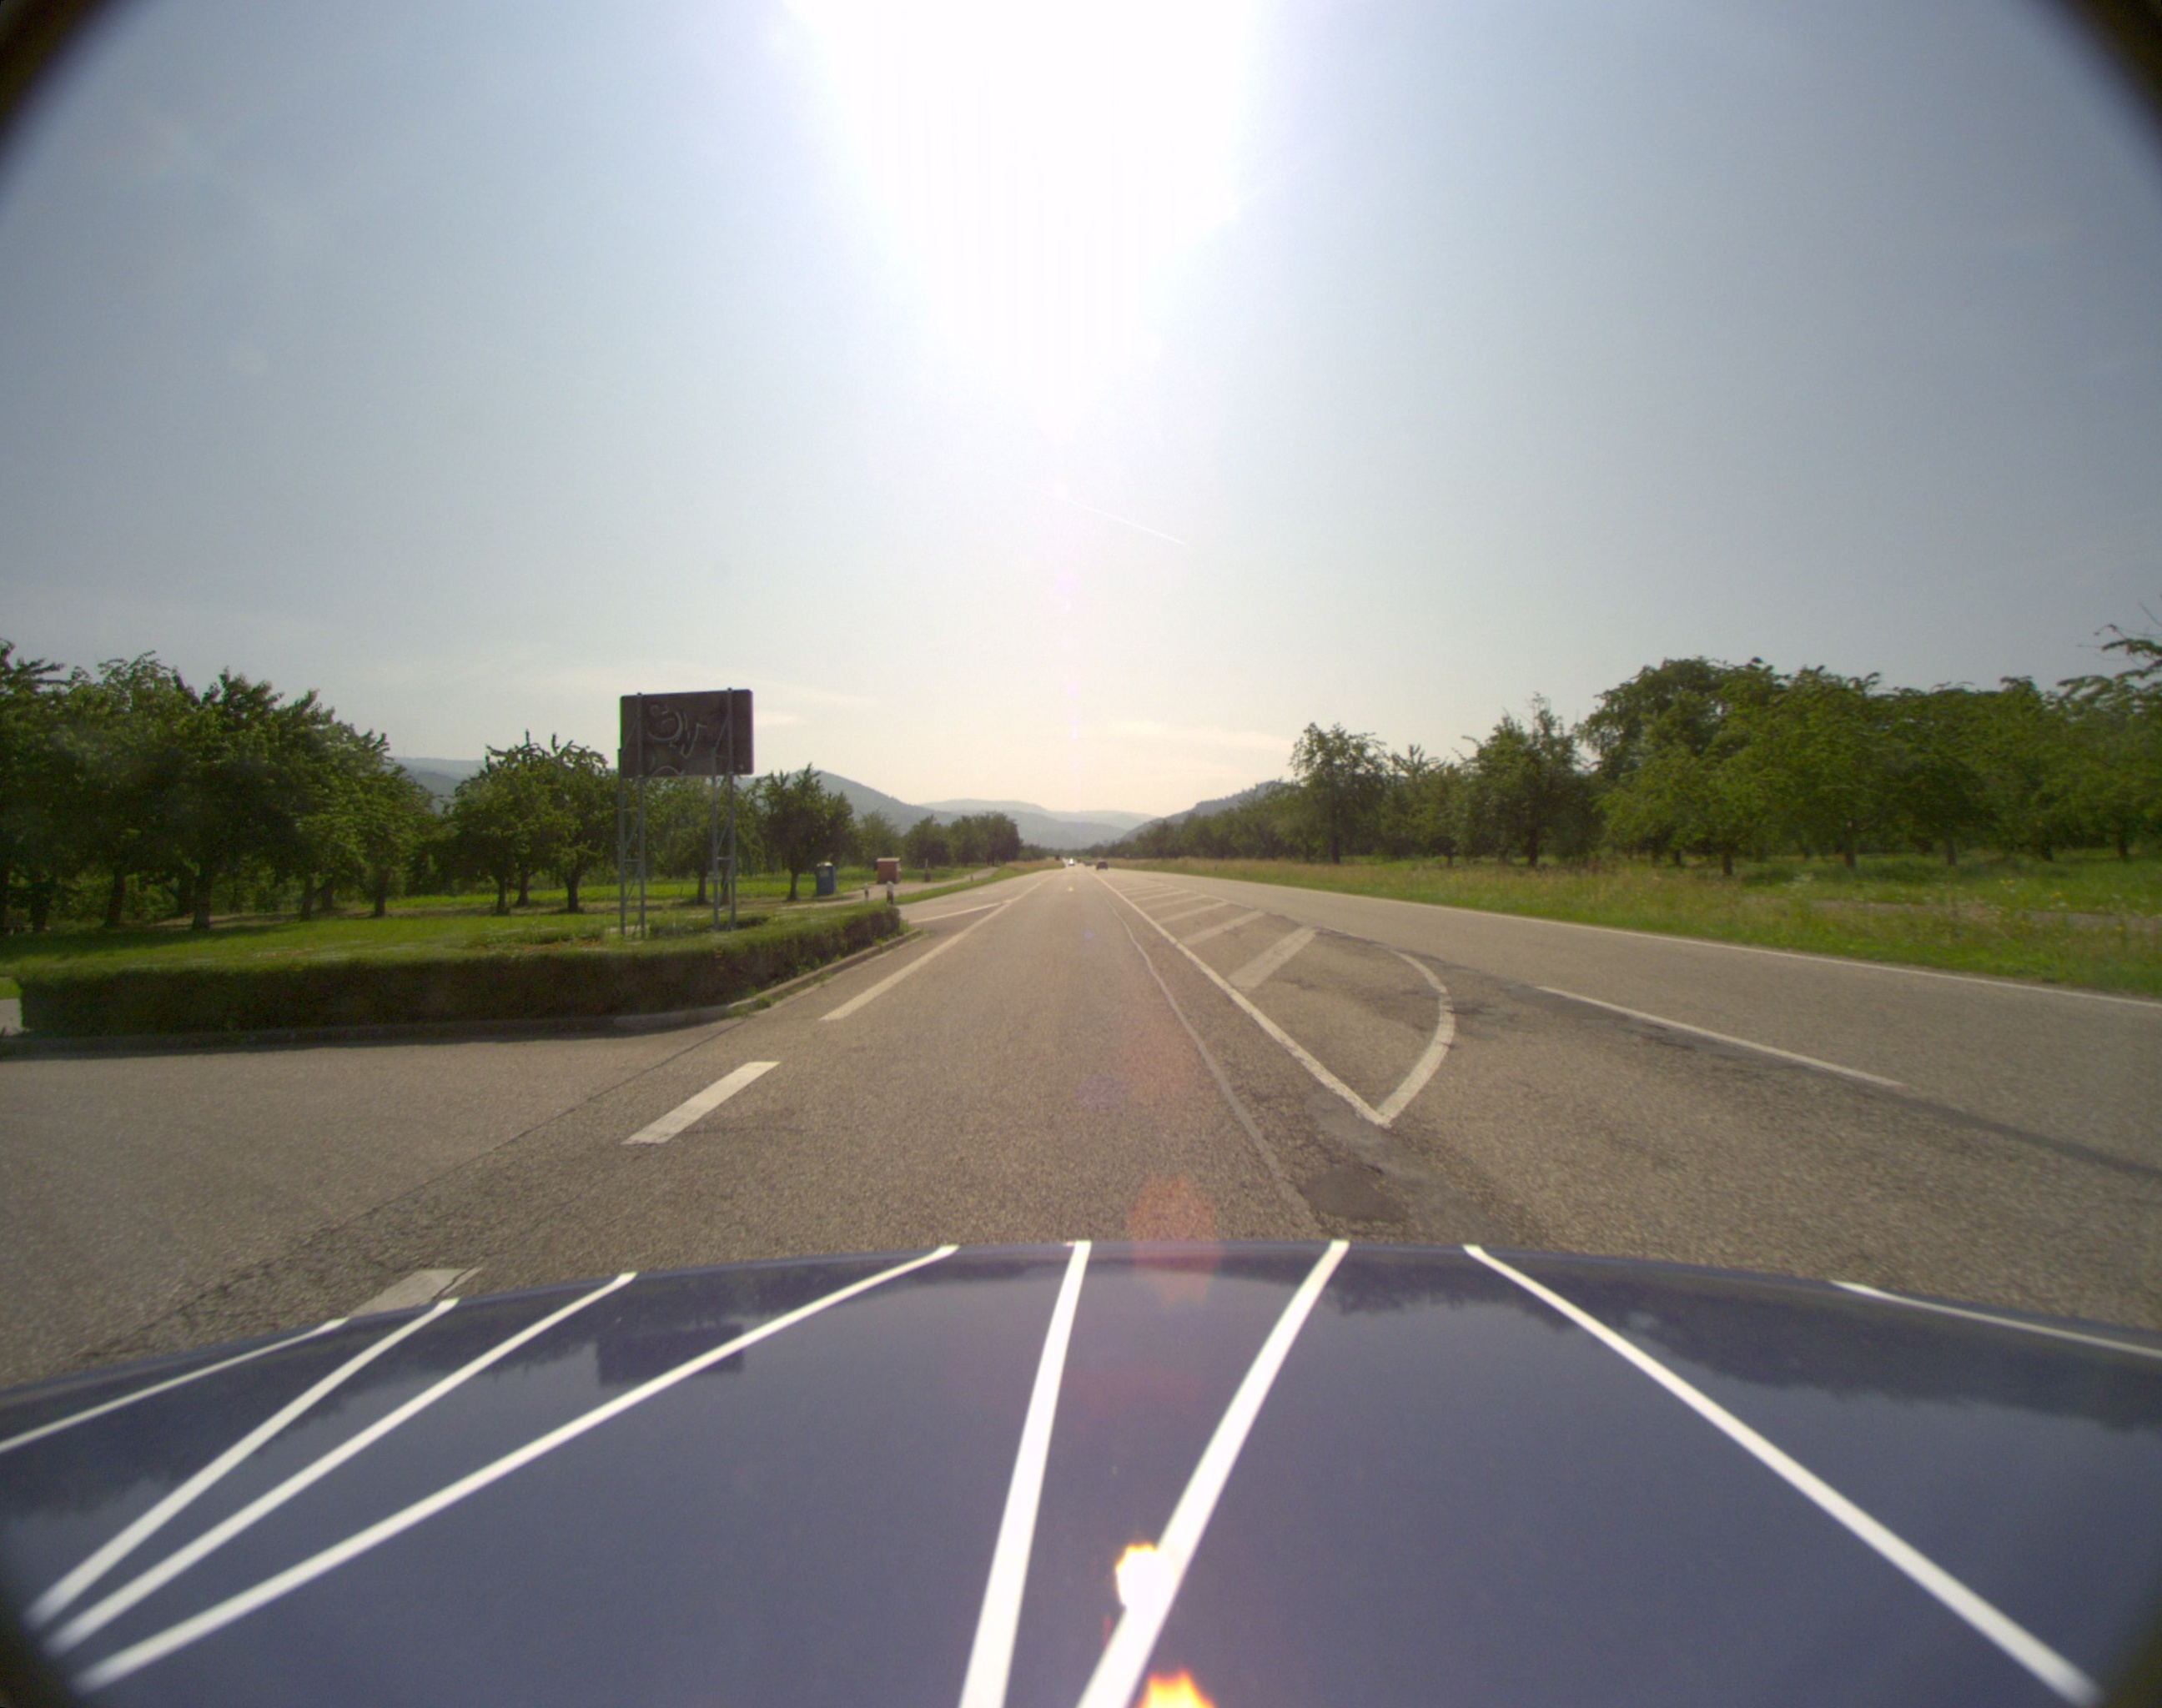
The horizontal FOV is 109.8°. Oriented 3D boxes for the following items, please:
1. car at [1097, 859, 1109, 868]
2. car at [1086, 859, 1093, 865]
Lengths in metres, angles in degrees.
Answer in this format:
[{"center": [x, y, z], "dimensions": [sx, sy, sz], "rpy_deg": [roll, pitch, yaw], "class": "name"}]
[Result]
[{"center": [3.483, 1.469, 121.432], "dimensions": [1.702, 1.408, 3.824], "rpy_deg": [-2, 0, -3], "class": "car"}, {"center": [2.335, 2.020, 200.744], "dimensions": [1.679, 1.485, 4.136], "rpy_deg": [-2, 0, -1], "class": "car"}]
